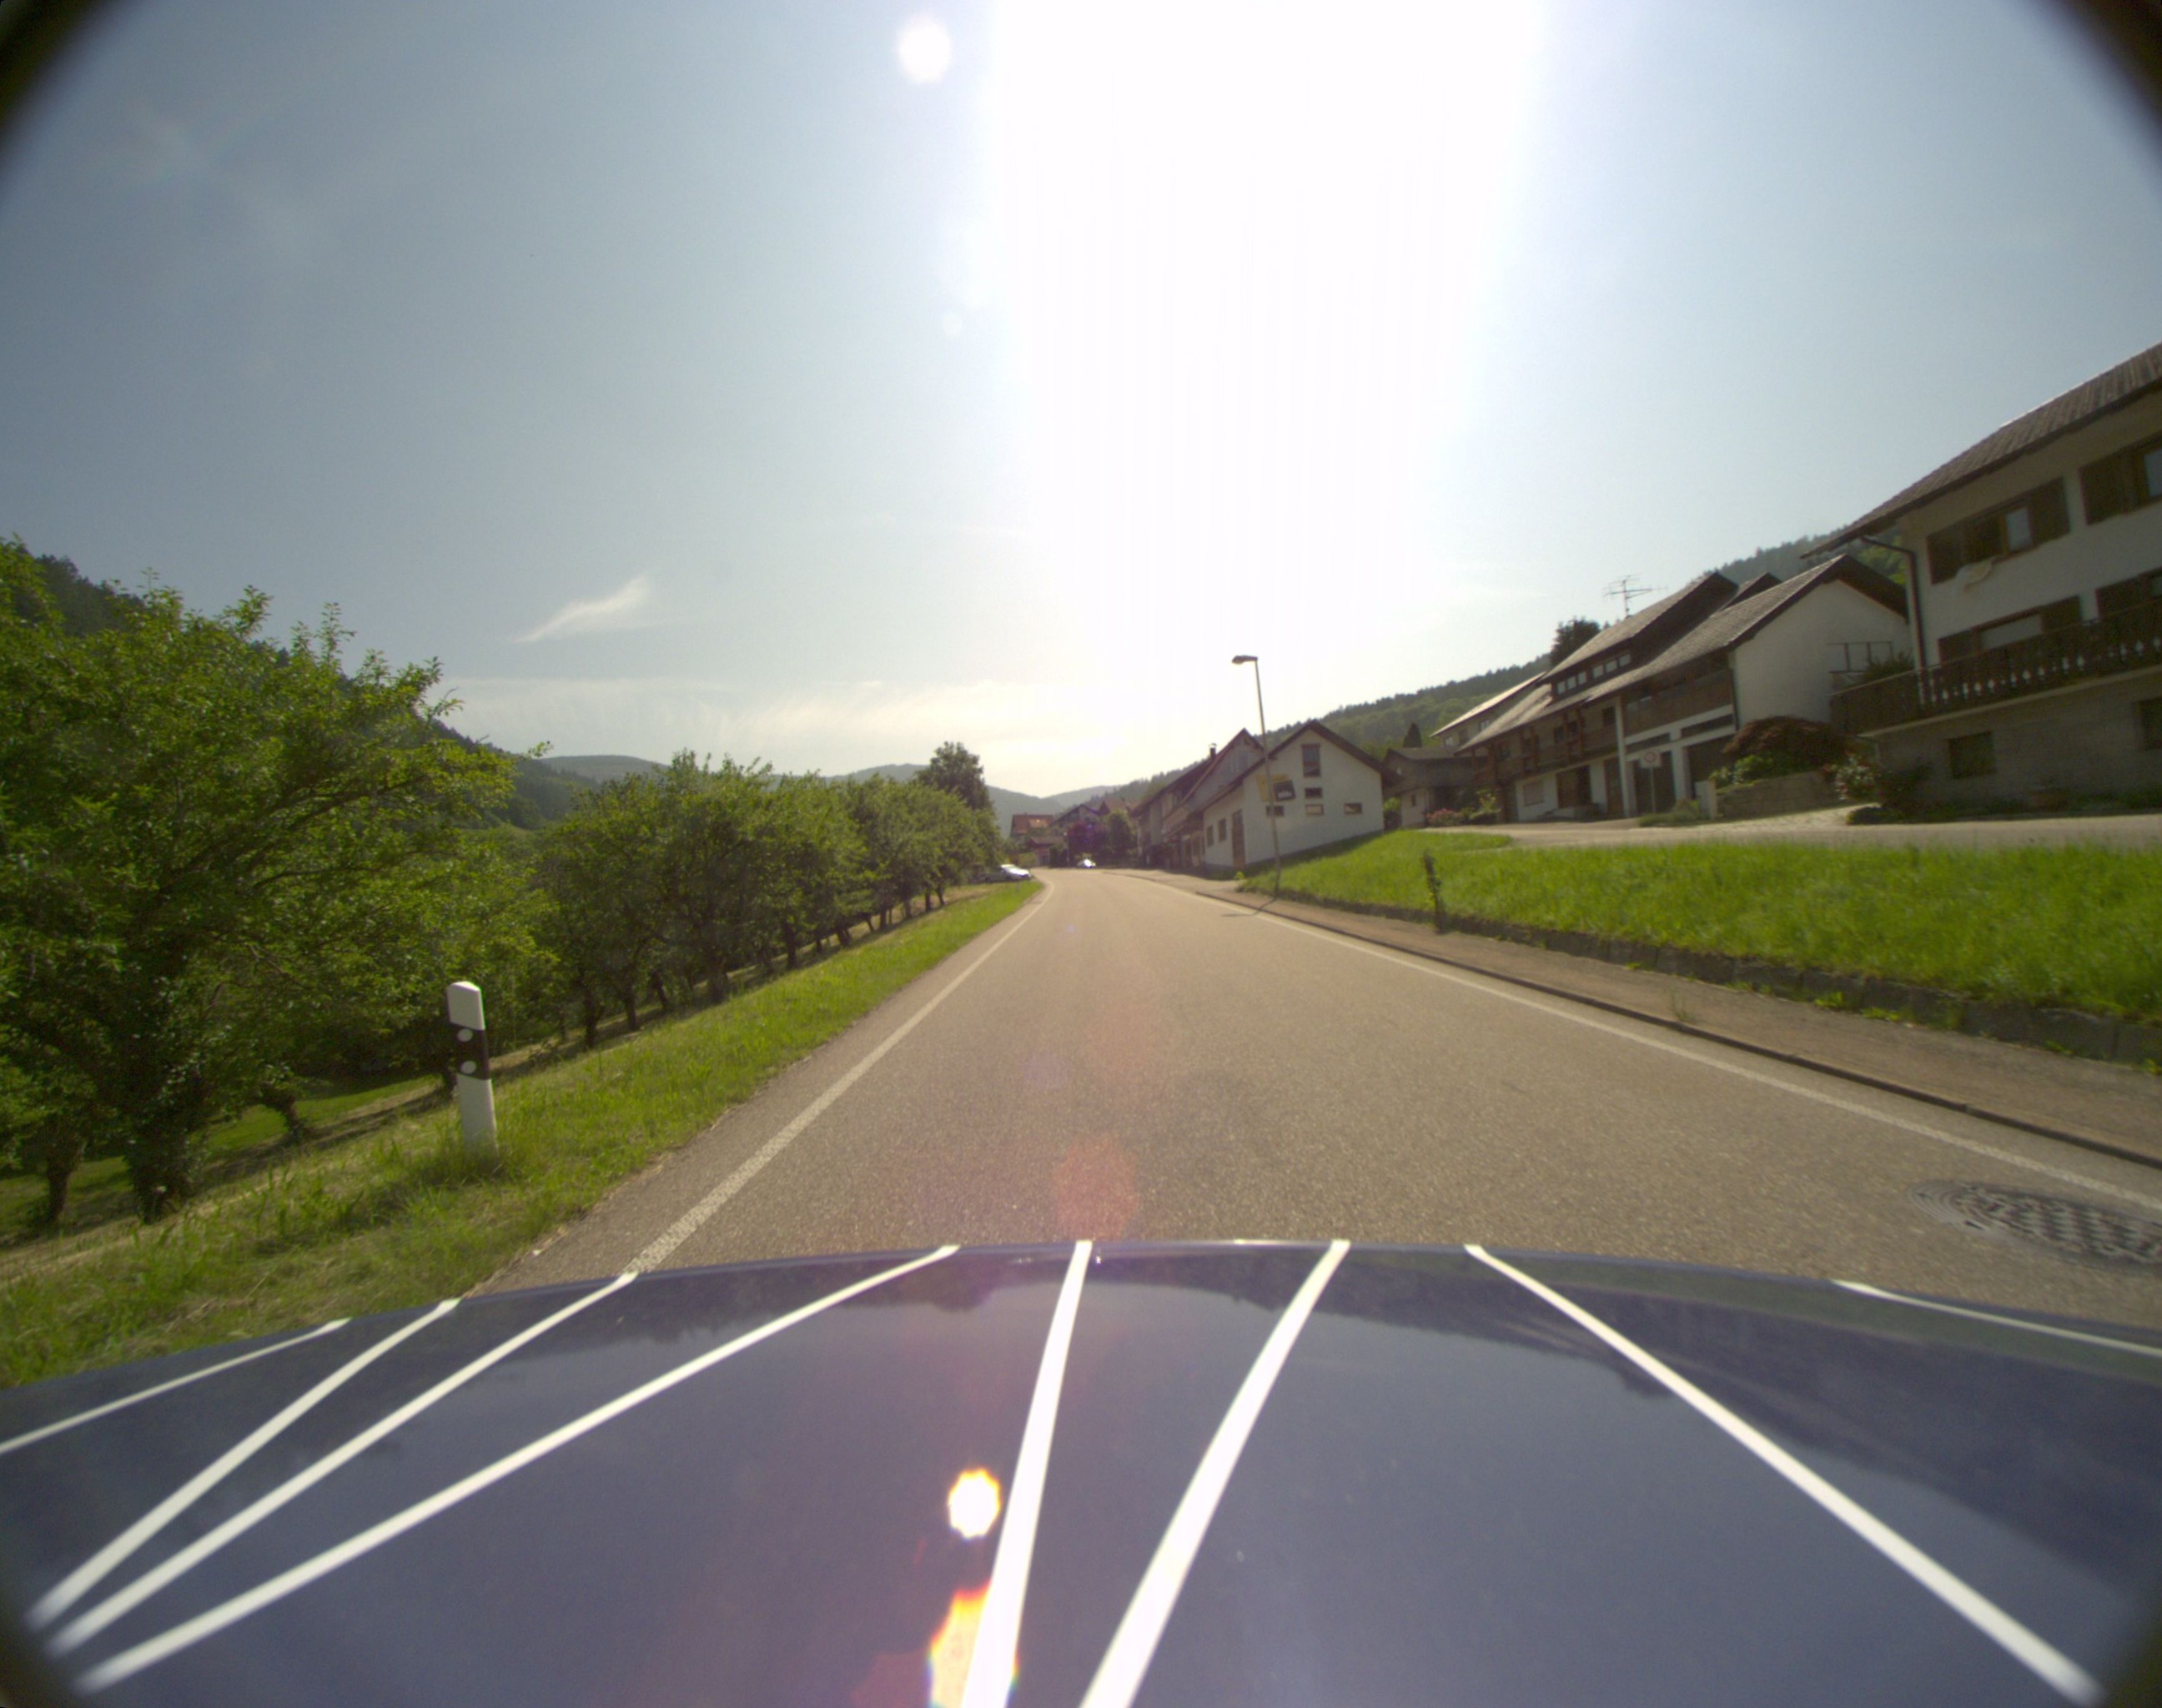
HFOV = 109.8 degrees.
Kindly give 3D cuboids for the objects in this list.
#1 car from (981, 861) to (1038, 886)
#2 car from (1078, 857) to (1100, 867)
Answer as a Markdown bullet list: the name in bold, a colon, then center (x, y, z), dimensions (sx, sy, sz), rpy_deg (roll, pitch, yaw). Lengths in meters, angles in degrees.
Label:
- **car**: center (-5.569, 1.557, 59.155), dimensions (1.909, 1.561, 4.451), rpy_deg (-5, -1, -44)
- **car**: center (1.121, 1.196, 108.031), dimensions (1.789, 1.331, 4.689), rpy_deg (-2, 0, -18)
